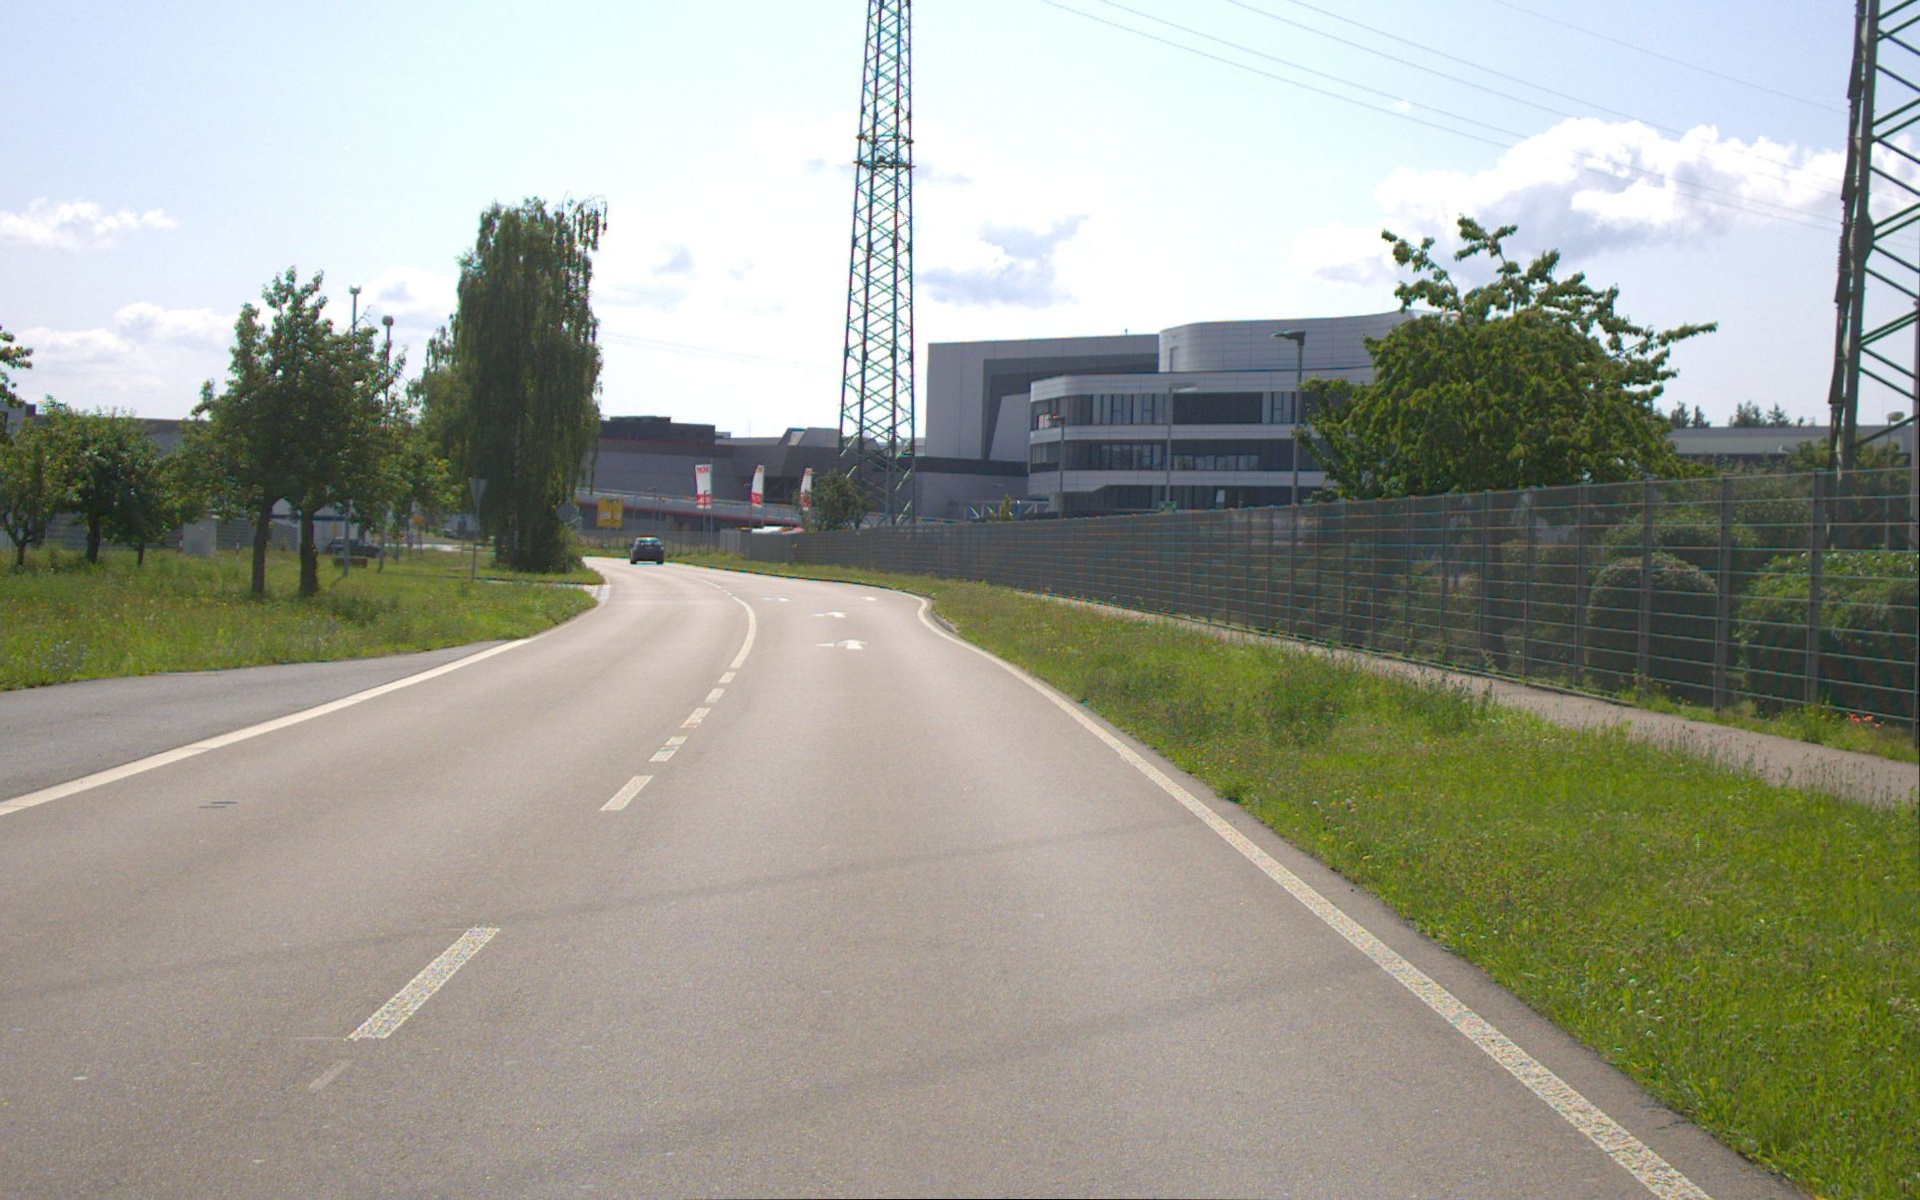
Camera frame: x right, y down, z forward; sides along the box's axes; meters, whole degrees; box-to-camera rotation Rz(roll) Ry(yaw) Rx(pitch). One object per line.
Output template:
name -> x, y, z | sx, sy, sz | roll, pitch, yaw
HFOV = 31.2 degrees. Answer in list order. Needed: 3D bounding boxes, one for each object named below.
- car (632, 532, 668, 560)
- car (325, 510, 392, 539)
car -> -18.064, -3.156, 200.316 | 2.012, 1.503, 4.001 | 2, 1, -5
car -> -37.688, -4.725, 215.564 | 3.986, 1.568, 2.001 | 4, 0, -9
